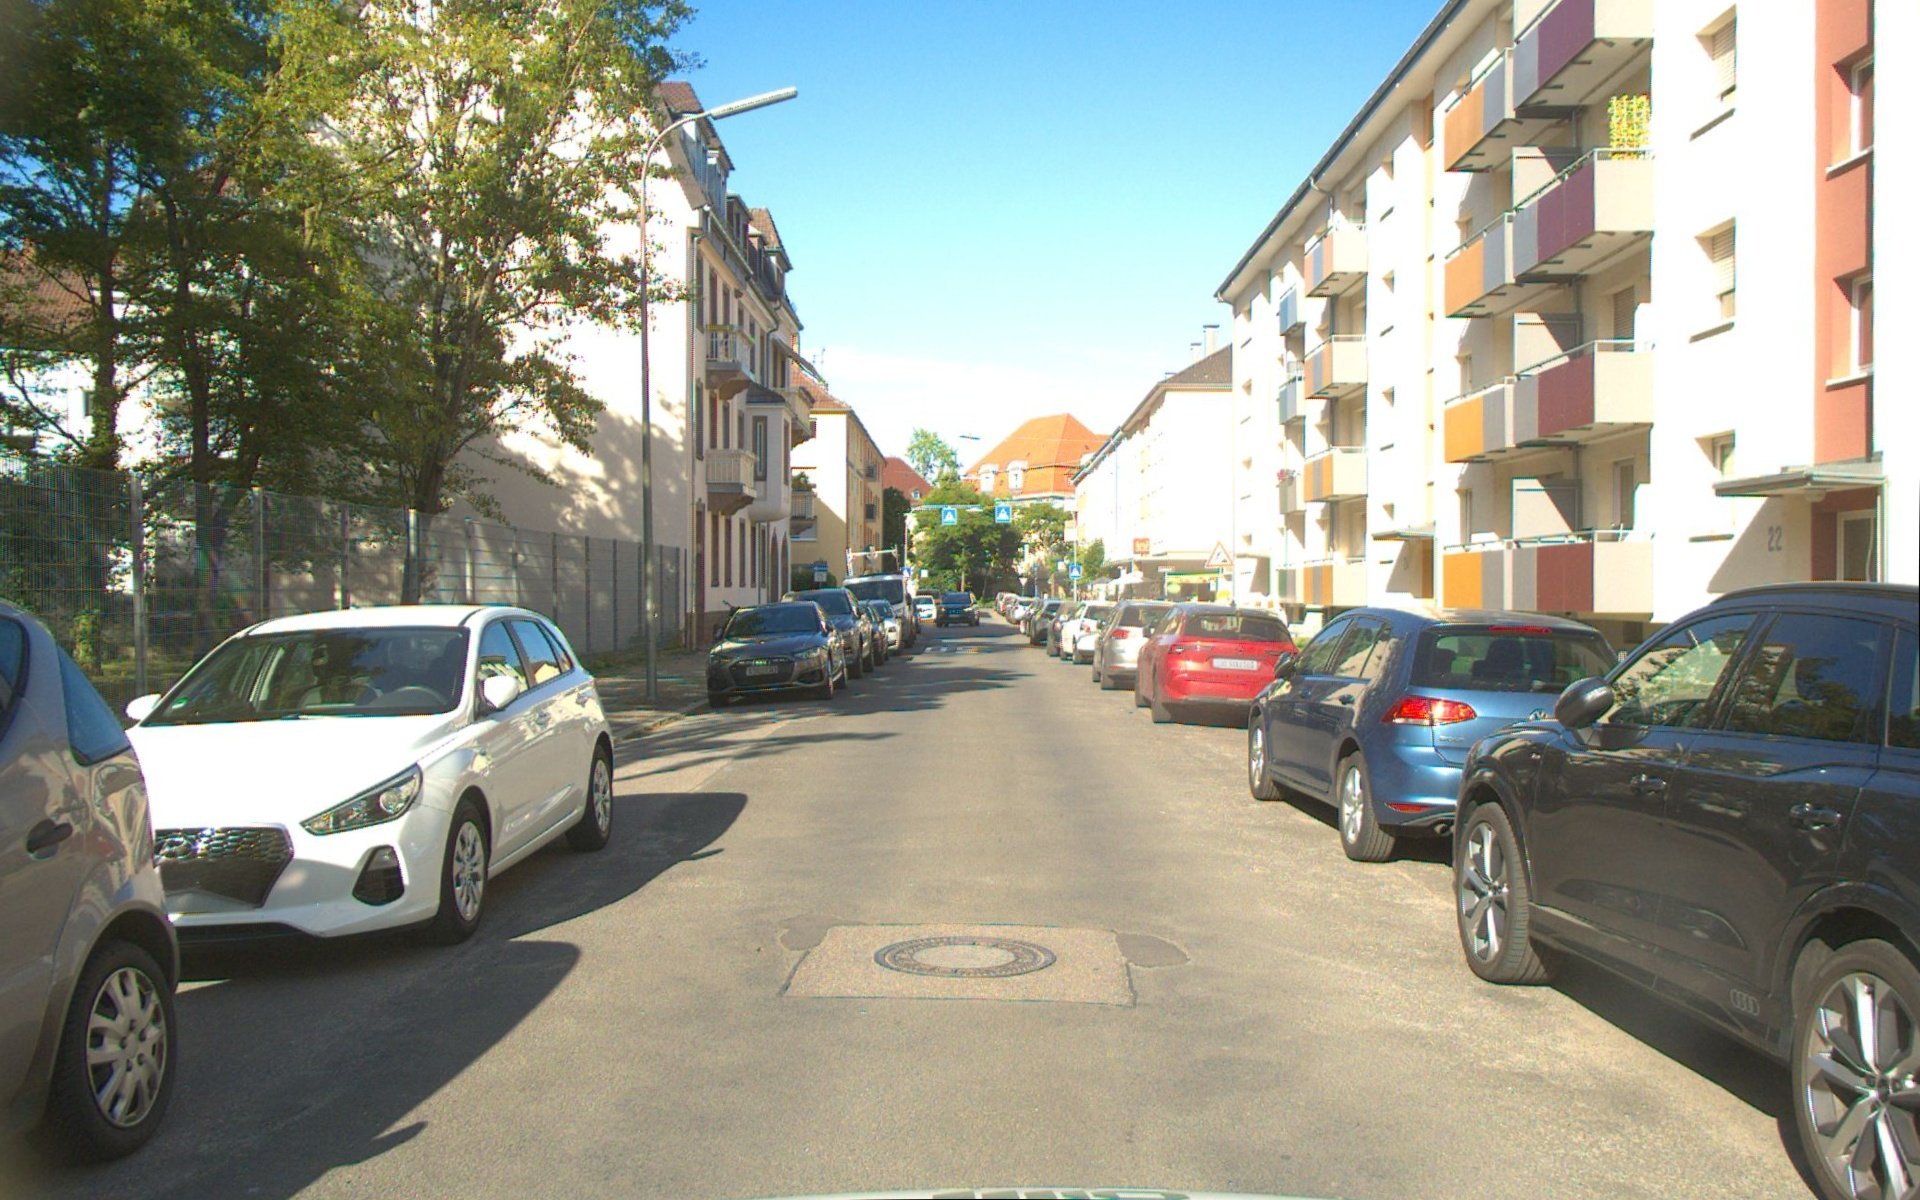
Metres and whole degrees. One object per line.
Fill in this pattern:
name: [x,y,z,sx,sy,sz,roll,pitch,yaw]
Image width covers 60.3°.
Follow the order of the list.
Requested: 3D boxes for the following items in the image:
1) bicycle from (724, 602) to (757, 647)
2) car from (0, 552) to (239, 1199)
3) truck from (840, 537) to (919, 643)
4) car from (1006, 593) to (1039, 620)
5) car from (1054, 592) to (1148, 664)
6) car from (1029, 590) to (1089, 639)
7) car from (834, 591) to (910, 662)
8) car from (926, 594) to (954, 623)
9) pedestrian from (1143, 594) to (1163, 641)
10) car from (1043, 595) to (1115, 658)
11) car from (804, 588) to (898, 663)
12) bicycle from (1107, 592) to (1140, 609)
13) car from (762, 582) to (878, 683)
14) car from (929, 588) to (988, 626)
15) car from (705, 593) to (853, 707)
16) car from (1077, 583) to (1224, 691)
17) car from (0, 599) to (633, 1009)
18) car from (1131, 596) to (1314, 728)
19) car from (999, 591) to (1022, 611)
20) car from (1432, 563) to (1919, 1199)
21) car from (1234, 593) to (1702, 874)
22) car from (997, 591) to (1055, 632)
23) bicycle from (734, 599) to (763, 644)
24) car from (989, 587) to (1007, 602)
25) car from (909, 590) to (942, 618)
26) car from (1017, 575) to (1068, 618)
bicycle: [-6.360,0.703,47.985,0.616,1.225,2.341,0,1,0]
car: [-2.957,0.779,3.150,1.532,1.671,3.615,-4,0,-1]
truck: [-2.405,-0.275,51.130,2.213,3.038,7.274,0,0,-1]
car: [3.463,0.361,92.269,1.807,1.466,3.419,0,0,1]
car: [3.298,0.630,39.301,1.652,1.488,3.817,5,0,-3]
car: [3.170,0.445,53.514,1.755,1.496,4.339,0,0,1]
car: [-2.291,0.661,44.045,1.757,1.567,4.640,-6,1,-2]
car: [-1.293,0.537,108.141,1.662,1.810,4.099,0,0,1]
pedestrian: [6.035,0.544,51.694,0.563,1.458,0.472,-2,1,2]
car: [3.110,0.666,43.798,1.653,1.492,3.583,2,1,1]
car: [-2.420,0.553,37.709,1.755,1.590,4.460,1,0,1]
bicycle: [9.461,0.009,95.862,1.773,0.984,0.672,0,0,-10]
car: [-2.606,0.570,31.827,1.841,1.693,4.930,-3,0,-1]
car: [-0.021,0.299,77.606,1.782,1.662,4.260,-1,1,14]
car: [-2.643,0.682,25.070,1.758,1.496,4.501,-3,0,-1]
car: [3.106,0.566,27.867,1.860,1.650,4.601,0,0,-1]
car: [-2.957,0.772,8.327,1.757,1.470,4.119,-2,0,0]
car: [3.166,0.688,20.735,1.716,1.469,4.524,0,0,2]
car: [3.782,0.064,123.802,1.604,1.466,3.418,0,0,0]
car: [3.026,0.708,5.235,1.717,1.586,4.253,0,0,-2]
car: [3.076,0.715,10.935,1.717,1.507,4.078,0,0,-2]
car: [2.556,0.450,65.221,1.817,1.550,4.774,1,0,-3]
bicycle: [-6.494,0.655,50.910,0.557,1.301,2.341,0,1,0]
car: [3.641,-0.528,158.305,1.604,1.466,3.418,0,0,0]
car: [-2.005,0.222,96.671,1.755,1.506,4.099,-1,1,1]
car: [2.939,-0.096,59.579,1.611,1.485,3.939,0,0,-1]
